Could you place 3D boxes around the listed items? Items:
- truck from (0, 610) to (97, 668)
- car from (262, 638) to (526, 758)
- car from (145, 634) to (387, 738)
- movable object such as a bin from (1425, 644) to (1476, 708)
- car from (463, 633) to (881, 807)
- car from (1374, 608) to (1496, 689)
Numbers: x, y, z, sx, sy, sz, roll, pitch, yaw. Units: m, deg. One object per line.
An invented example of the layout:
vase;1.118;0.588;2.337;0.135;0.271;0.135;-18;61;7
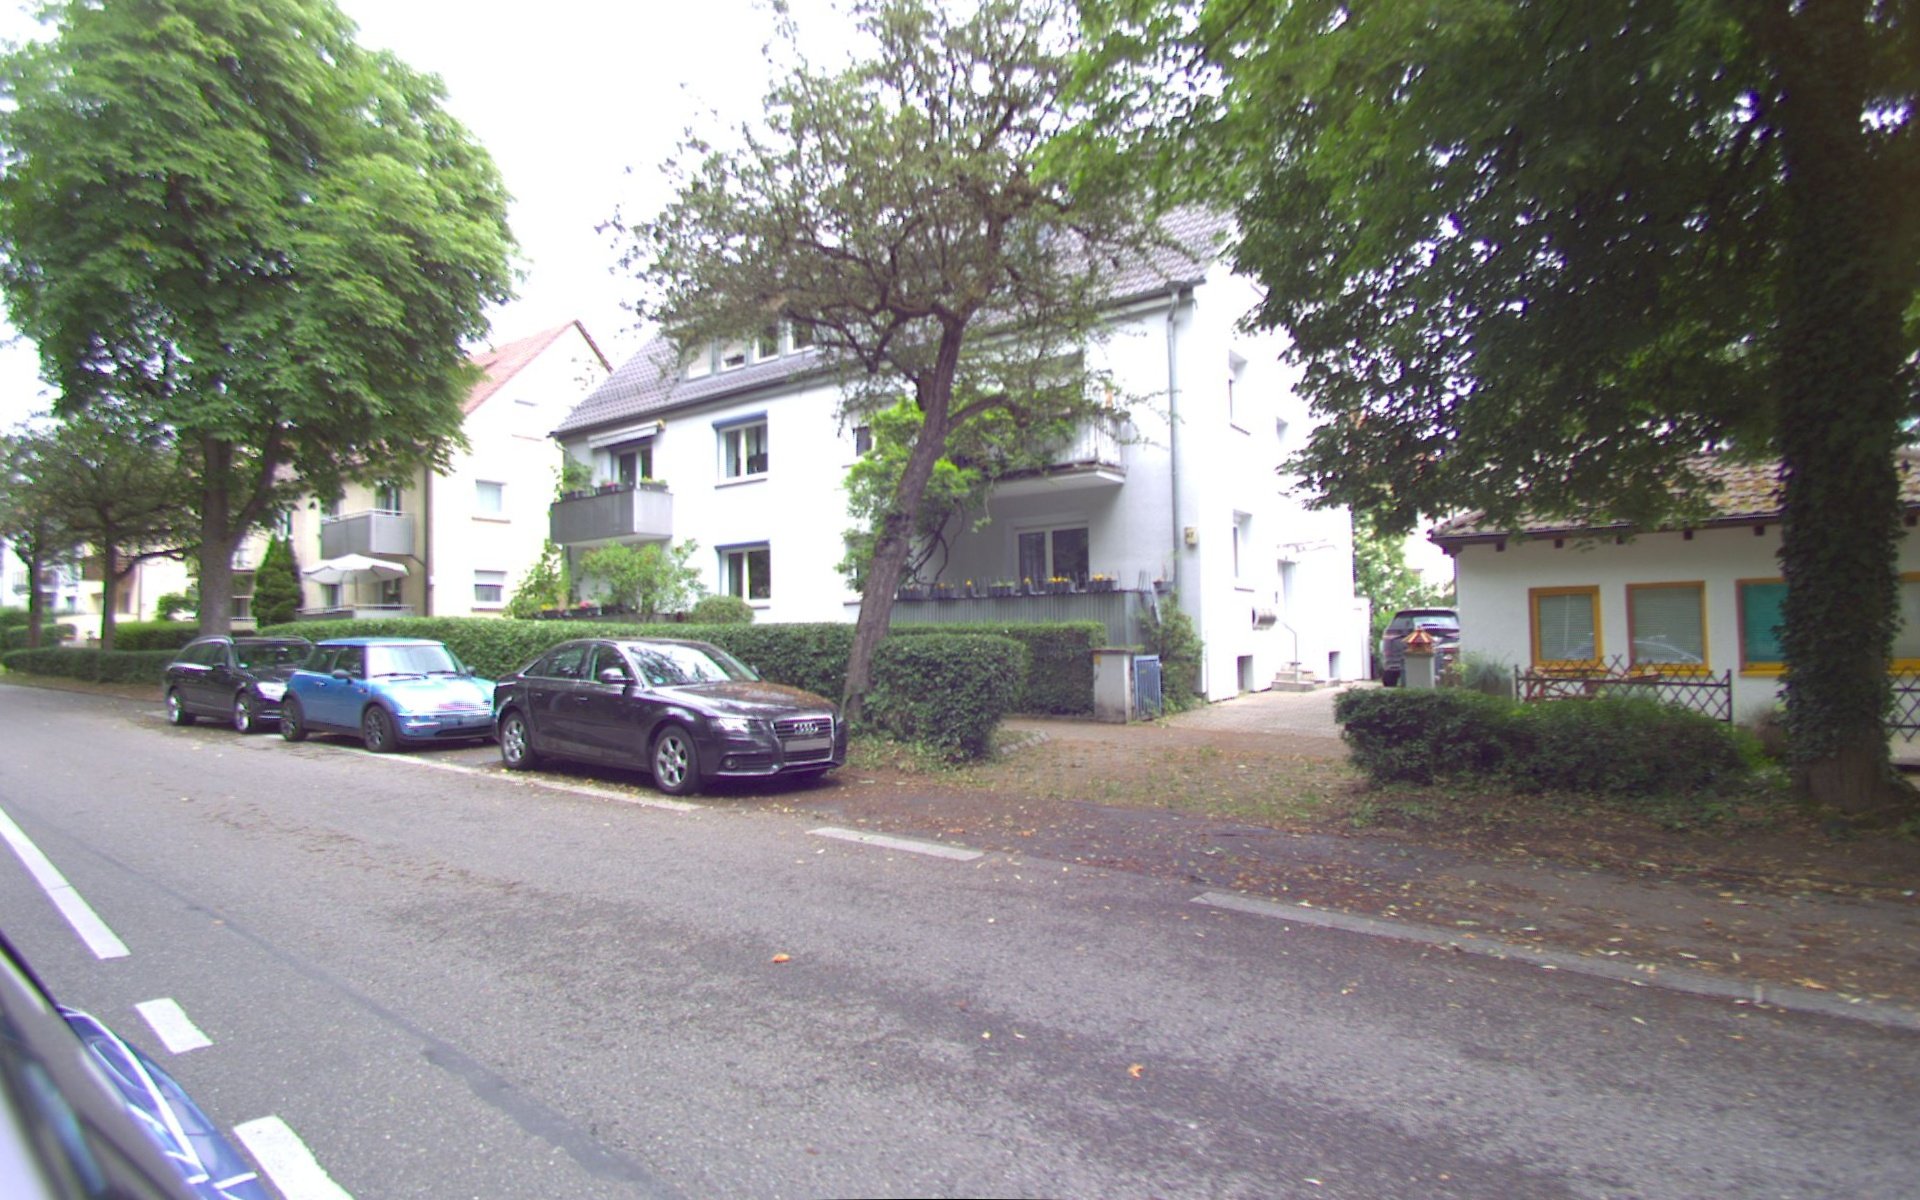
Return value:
truck;-53.240;2.213;57.619;2.511;3.155;5.748;-2;-3;33
car;-7.687;1.239;13.667;3.698;1.402;1.650;-2;-4;35
car;-11.352;1.325;16.471;4.407;1.483;1.779;-2;-3;35
movable object such as a bin;7.511;1.150;15.495;0.573;0.929;0.482;-2;-1;39
car;-3.115;1.083;10.452;4.638;1.421;1.777;-2;-4;38
car;10.101;0.954;21.370;1.730;1.522;3.954;-2;-1;34
